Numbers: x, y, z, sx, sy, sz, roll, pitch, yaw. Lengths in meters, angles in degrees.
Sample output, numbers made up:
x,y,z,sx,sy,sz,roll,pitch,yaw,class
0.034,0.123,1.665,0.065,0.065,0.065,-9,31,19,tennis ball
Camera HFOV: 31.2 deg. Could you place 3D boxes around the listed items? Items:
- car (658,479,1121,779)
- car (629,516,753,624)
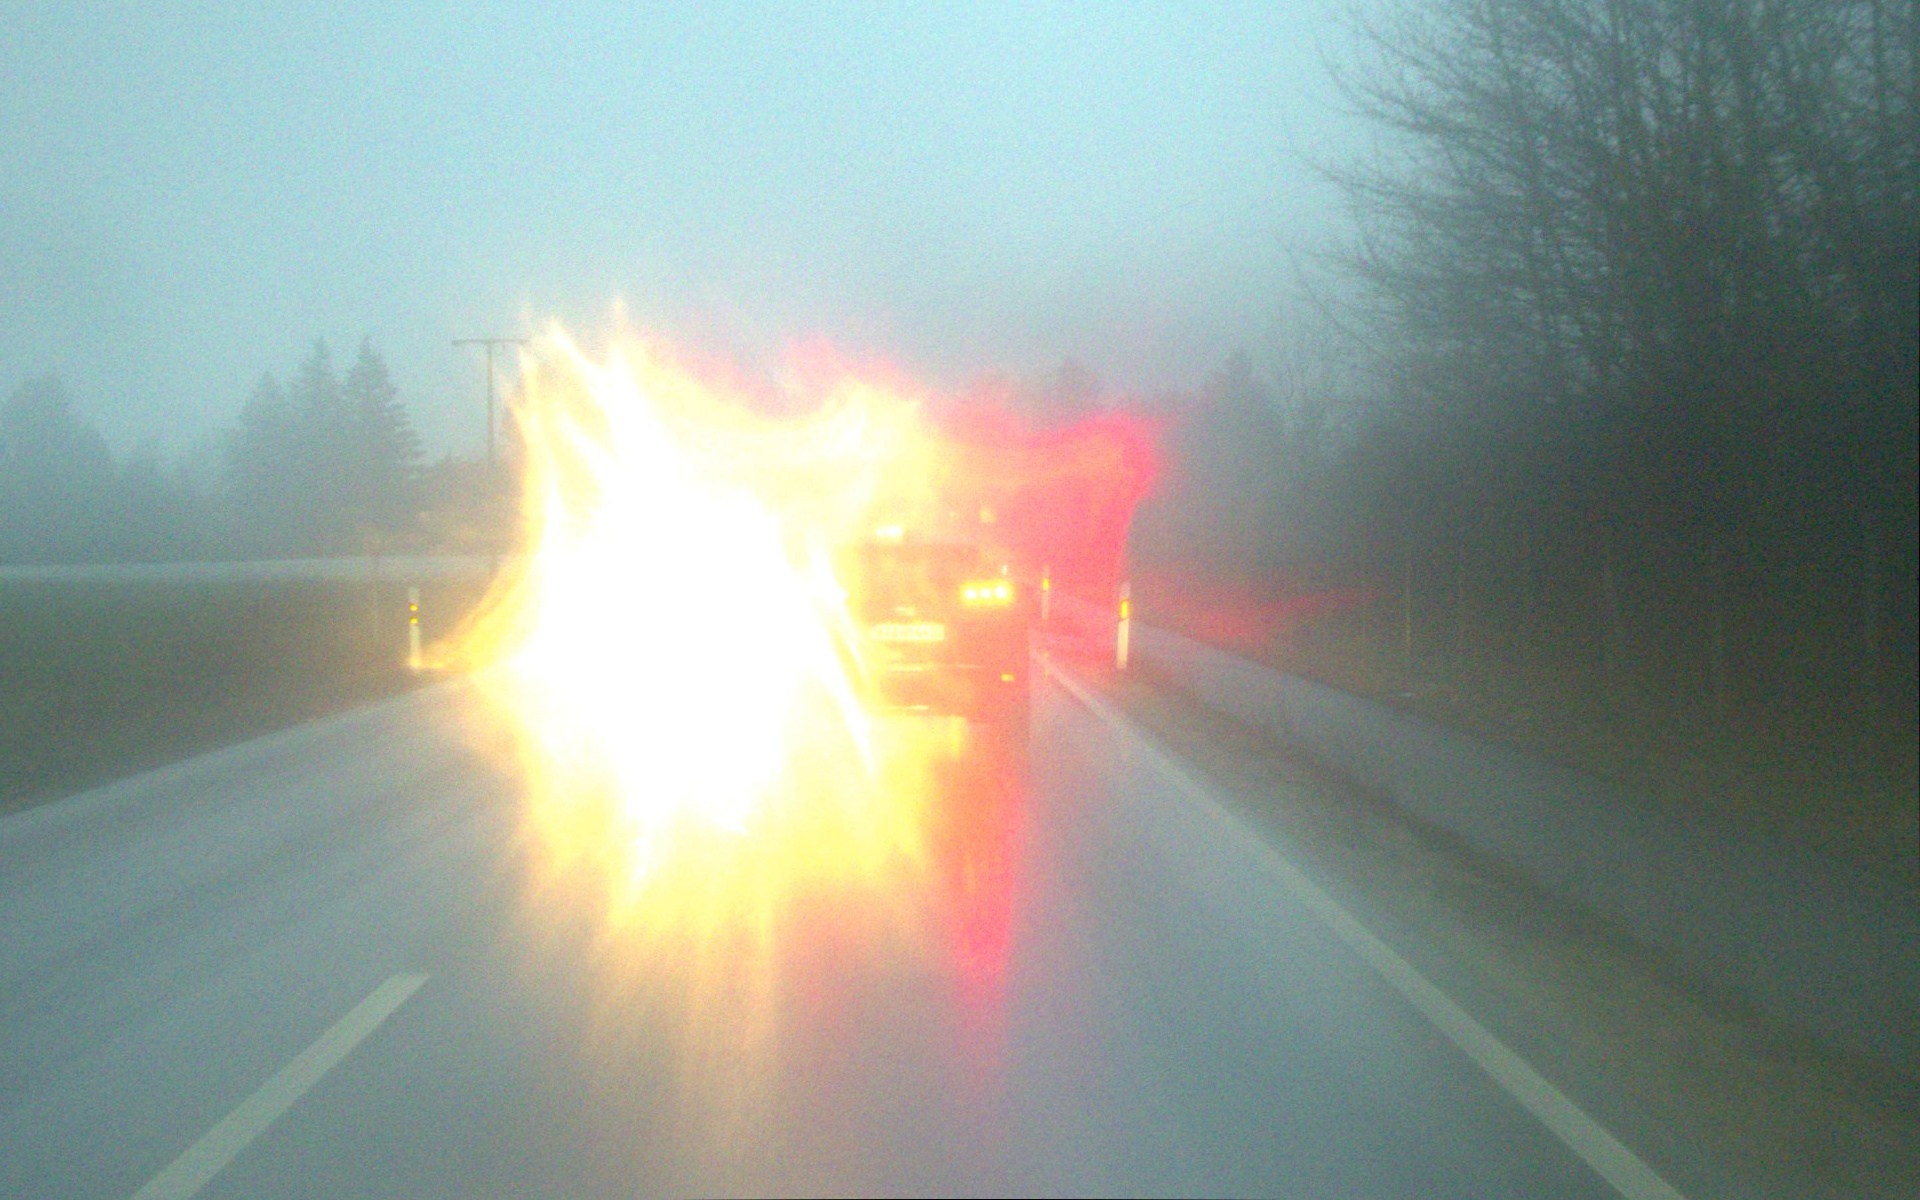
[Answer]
x,y,z,sx,sy,sz,roll,pitch,yaw,class
-0.500,0.116,27.081,3.164,2.028,6.852,-1,1,0,car
-4.472,-0.515,57.646,1.839,1.715,3.956,1,1,-1,car
